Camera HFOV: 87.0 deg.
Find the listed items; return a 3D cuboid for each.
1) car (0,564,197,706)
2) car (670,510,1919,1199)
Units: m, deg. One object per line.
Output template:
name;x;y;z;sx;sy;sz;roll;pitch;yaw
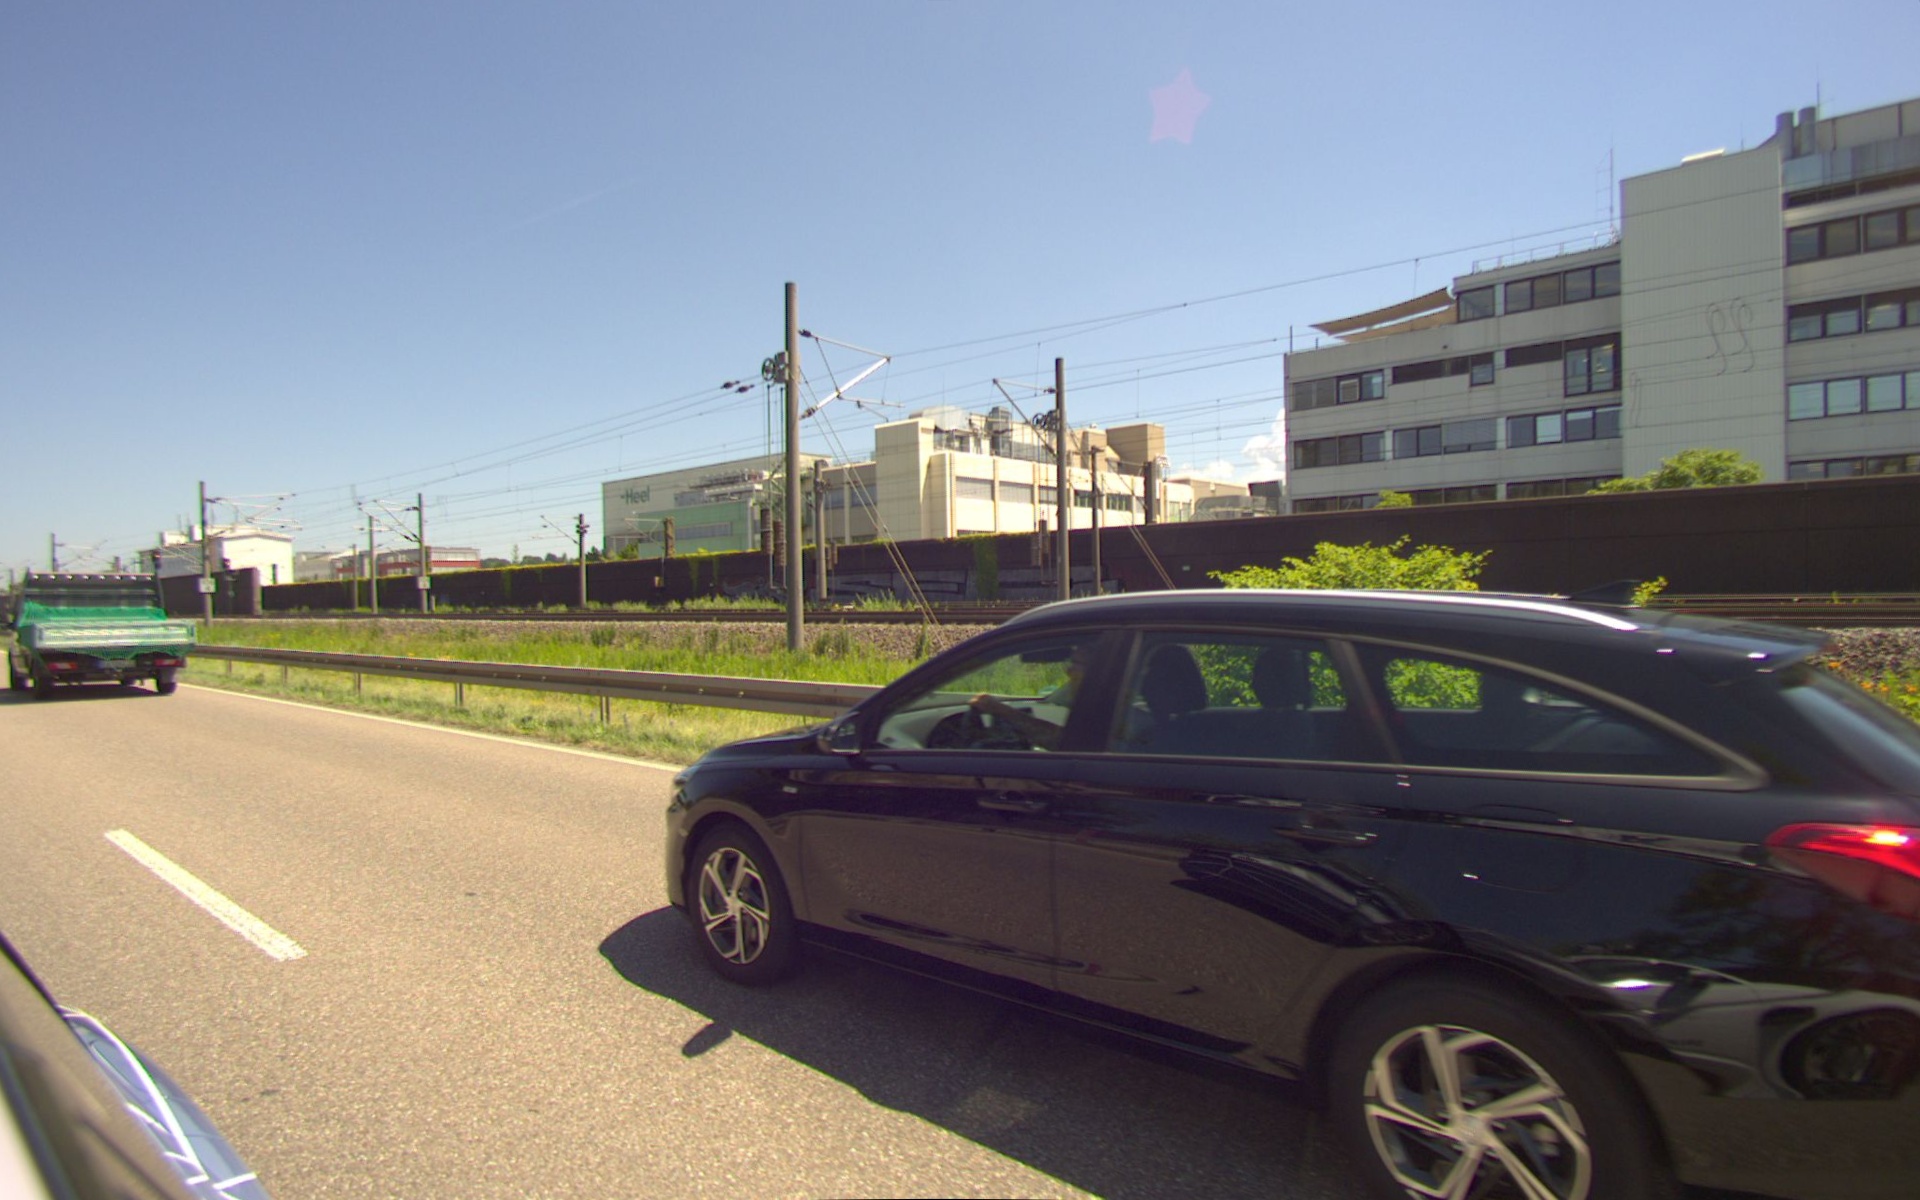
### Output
car;-16.728;0.603;19.389;6.234;2.304;2.237;-1;0;42
car;1.062;0.628;3.352;4.160;1.519;1.954;-1;0;41
